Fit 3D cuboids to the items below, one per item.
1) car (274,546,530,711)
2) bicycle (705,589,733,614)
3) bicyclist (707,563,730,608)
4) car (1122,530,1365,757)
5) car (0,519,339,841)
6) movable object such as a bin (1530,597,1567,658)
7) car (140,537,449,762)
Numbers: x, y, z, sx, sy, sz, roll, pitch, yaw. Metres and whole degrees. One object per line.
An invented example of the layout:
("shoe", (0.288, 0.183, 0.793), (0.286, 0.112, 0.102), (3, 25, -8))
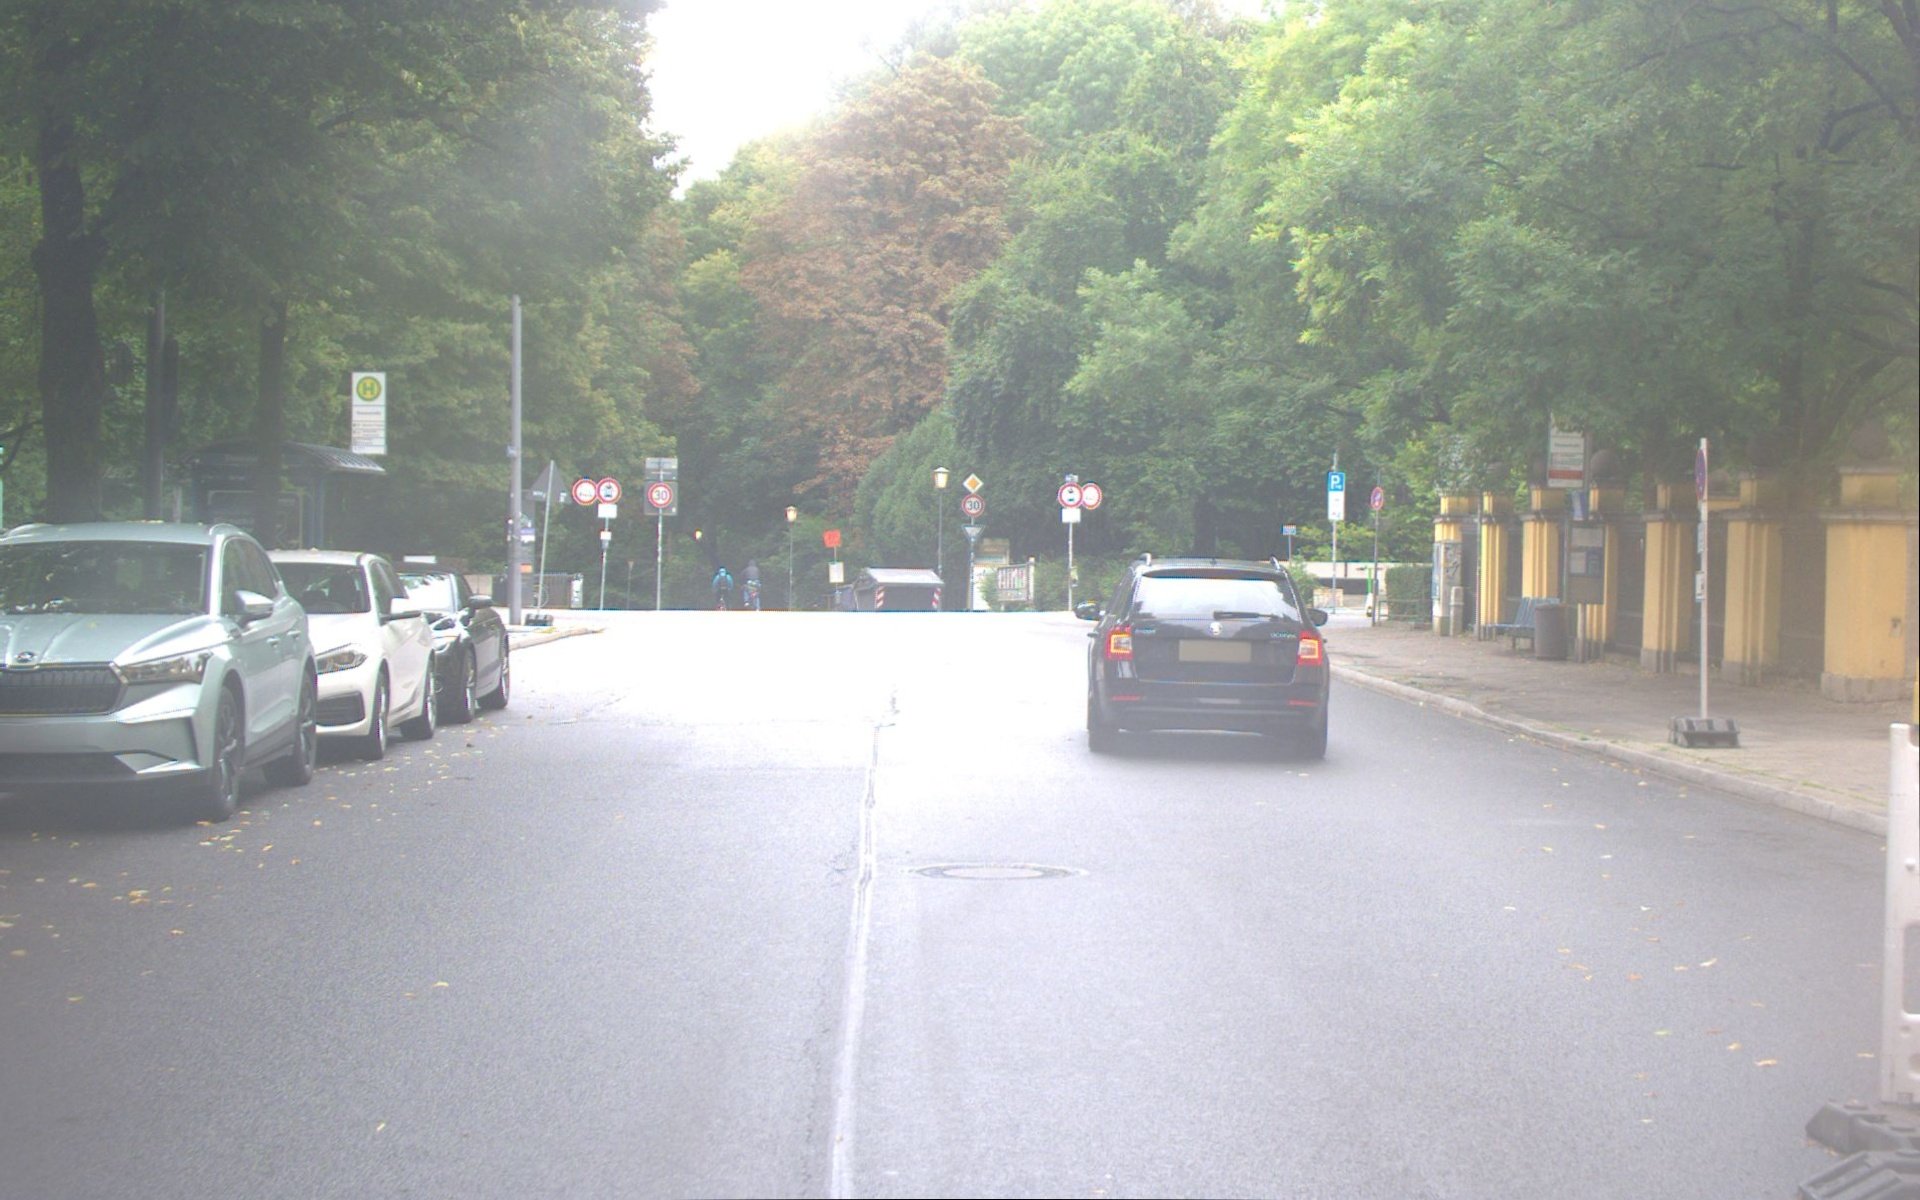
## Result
("car", (-4.862, 0.210, 30.407), (1.577, 1.338, 4.044), (1, 1, 0))
("bicycle", (-8.197, 0.048, 116.836), (0.679, 0.827, 2.110), (1, 0, -11))
("bicyclist", (-8.216, -0.490, 116.934), (0.680, 1.499, 0.901), (0, 1, -10))
("car", (2.091, 0.279, 26.237), (1.577, 1.578, 4.044), (1, 1, 1))
("car", (-4.753, 0.367, 19.421), (1.815, 1.596, 4.514), (1, 1, -2))
("movable object such as a bin", (7.714, 0.359, 45.058), (0.397, 0.778, 0.465), (1, 1, 1))
("car", (-4.761, 0.304, 25.092), (1.577, 1.492, 4.200), (1, 1, -2))
